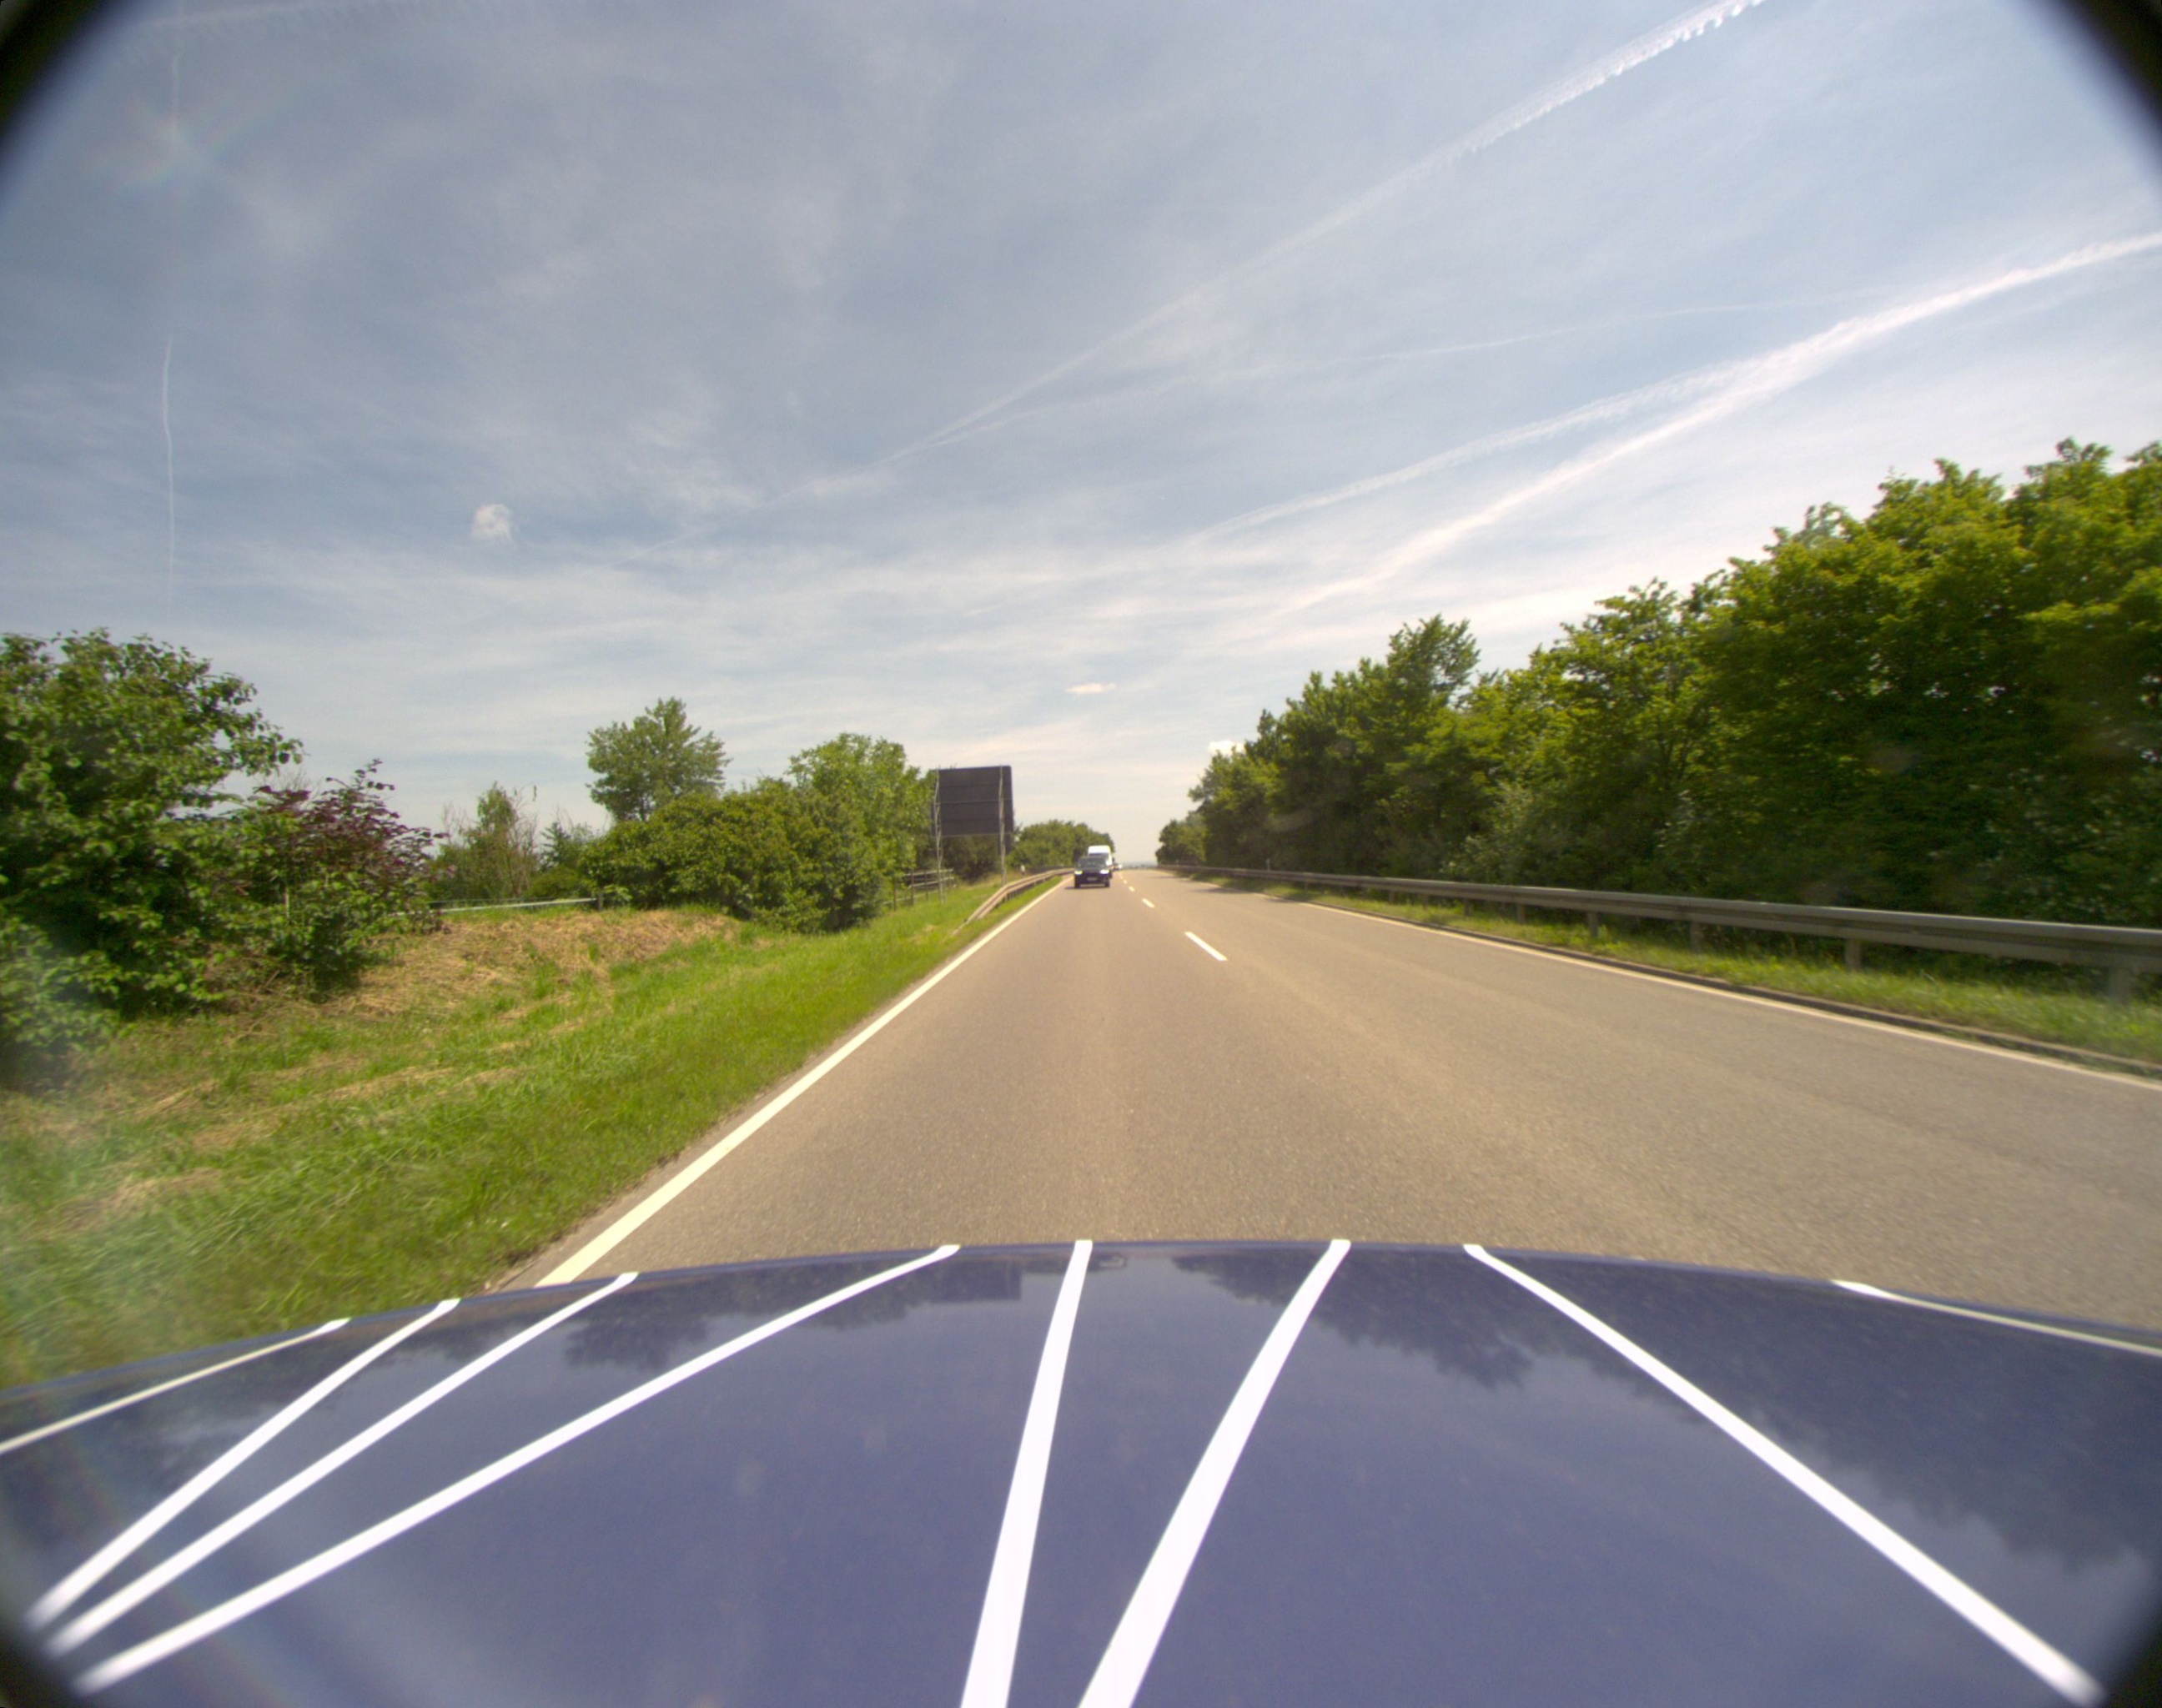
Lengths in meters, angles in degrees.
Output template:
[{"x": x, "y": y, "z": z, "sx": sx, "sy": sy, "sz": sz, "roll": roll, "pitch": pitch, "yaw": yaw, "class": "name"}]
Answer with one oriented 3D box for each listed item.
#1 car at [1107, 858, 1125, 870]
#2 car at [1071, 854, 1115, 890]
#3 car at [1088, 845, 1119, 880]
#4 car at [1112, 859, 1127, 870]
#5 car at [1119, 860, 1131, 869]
[{"x": 4.978, "y": 1.378, "z": 106.983, "sx": 2.038, "sy": 1.641, "sz": 4.747, "roll": -1, "pitch": -1, "yaw": 7, "class": "car"}, {"x": 0.696, "y": 0.860, "z": 39.873, "sx": 2.038, "sy": 1.691, "sz": 5.514, "roll": -1, "pitch": 0, "yaw": 3, "class": "car"}, {"x": 1.842, "y": 0.606, "z": 61.204, "sx": 2.225, "sy": 2.617, "sz": 5.753, "roll": -3, "pitch": 1, "yaw": 2, "class": "car"}, {"x": 6.282, "y": 1.754, "z": 124.321, "sx": 2.038, "sy": 1.641, "sz": 4.747, "roll": -1, "pitch": -1, "yaw": 6, "class": "car"}, {"x": 8.467, "y": 1.992, "z": 145.102, "sx": 2.038, "sy": 1.641, "sz": 4.747, "roll": -1, "pitch": -1, "yaw": 6, "class": "car"}]
